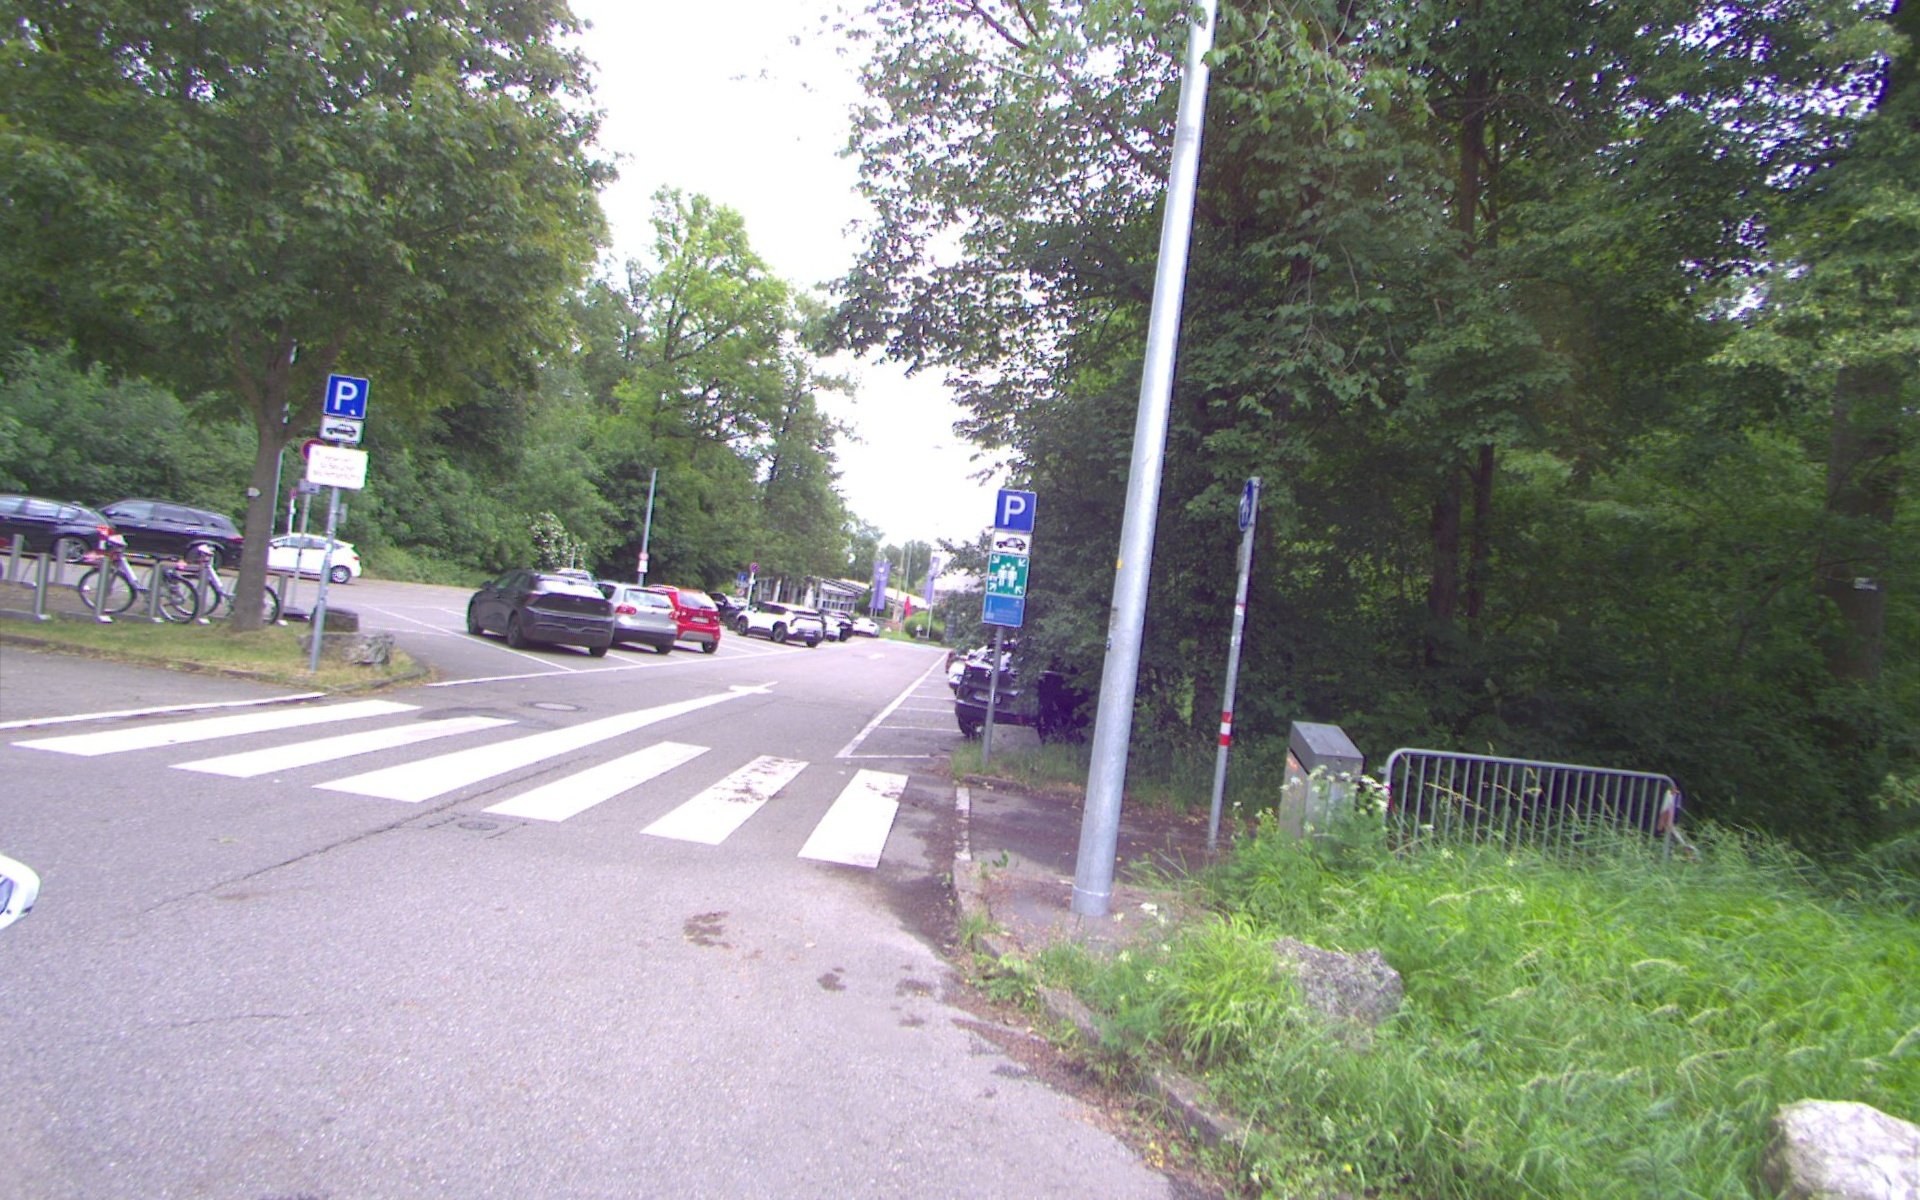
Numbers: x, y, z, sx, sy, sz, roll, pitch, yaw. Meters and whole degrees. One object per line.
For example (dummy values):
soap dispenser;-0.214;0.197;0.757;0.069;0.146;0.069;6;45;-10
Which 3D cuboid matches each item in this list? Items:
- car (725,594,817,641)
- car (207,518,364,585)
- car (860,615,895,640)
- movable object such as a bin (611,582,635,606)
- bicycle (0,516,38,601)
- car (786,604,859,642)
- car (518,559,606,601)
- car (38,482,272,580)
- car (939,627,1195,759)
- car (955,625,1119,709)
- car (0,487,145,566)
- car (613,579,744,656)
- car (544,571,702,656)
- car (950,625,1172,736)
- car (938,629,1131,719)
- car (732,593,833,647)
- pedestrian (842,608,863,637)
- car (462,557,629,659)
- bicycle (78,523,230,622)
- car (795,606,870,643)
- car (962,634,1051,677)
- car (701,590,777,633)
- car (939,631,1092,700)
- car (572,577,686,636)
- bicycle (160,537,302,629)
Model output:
car;-8.576;0.776;45.423;3.942;1.572;1.866;7;-1;40
car;-22.307;-1.574;33.333;3.977;1.528;1.847;9;-2;-43
car;-5.884;1.995;72.426;1.864;1.445;4.003;8;-1;3
movable object such as a bin;-21.243;-0.369;63.382;1.114;1.330;1.176;8;-1;-28
bicycle;-13.896;-0.677;14.009;1.653;1.124;0.506;8;-1;7
car;-7.188;1.176;52.386;1.762;1.460;3.799;9;-2;-43
car;-22.300;-1.111;56.405;4.047;1.704;1.858;10;-2;-42
car;-21.736;-1.825;27.304;4.681;1.787;2.086;9;-2;-43
car;1.691;1.442;15.087;3.773;1.509;1.678;10;-2;-45
car;2.081;1.793;26.482;4.093;1.636;1.821;10;-2;-41
car;-21.669;-1.826;23.434;3.977;1.392;1.719;10;-2;-43
car;-7.680;0.451;27.276;3.606;1.604;1.679;7;-2;44
car;-8.146;0.295;24.173;3.948;1.500;1.868;7;-2;44
car;2.032;1.593;19.390;1.932;1.598;4.183;7;-2;44
car;1.739;1.696;22.604;4.093;1.455;1.848;10;-2;-41
car;-7.255;0.794;40.840;4.135;1.615;1.837;7;-1;44
pedestrian;-7.042;1.452;65.999;0.891;1.745;0.755;8;-1;-42
car;-8.466;0.115;20.361;1.819;1.540;4.054;9;-2;-41
bicycle;-11.203;-0.377;14.003;1.653;1.124;0.483;8;-1;5
car;-7.056;1.346;55.599;4.223;1.460;1.751;7;-2;45
car;2.255;2.677;48.368;3.971;1.484;1.815;9;-1;-39
car;-11.584;0.567;52.624;3.948;1.682;1.889;7;-2;45
car;1.688;1.961;29.824;4.267;1.430;1.907;10;-2;-39
car;-11.484;0.190;34.751;4.259;1.459;1.860;7;-2;44
bicycle;-11.094;-0.252;15.327;1.755;1.124;0.483;8;-1;5
